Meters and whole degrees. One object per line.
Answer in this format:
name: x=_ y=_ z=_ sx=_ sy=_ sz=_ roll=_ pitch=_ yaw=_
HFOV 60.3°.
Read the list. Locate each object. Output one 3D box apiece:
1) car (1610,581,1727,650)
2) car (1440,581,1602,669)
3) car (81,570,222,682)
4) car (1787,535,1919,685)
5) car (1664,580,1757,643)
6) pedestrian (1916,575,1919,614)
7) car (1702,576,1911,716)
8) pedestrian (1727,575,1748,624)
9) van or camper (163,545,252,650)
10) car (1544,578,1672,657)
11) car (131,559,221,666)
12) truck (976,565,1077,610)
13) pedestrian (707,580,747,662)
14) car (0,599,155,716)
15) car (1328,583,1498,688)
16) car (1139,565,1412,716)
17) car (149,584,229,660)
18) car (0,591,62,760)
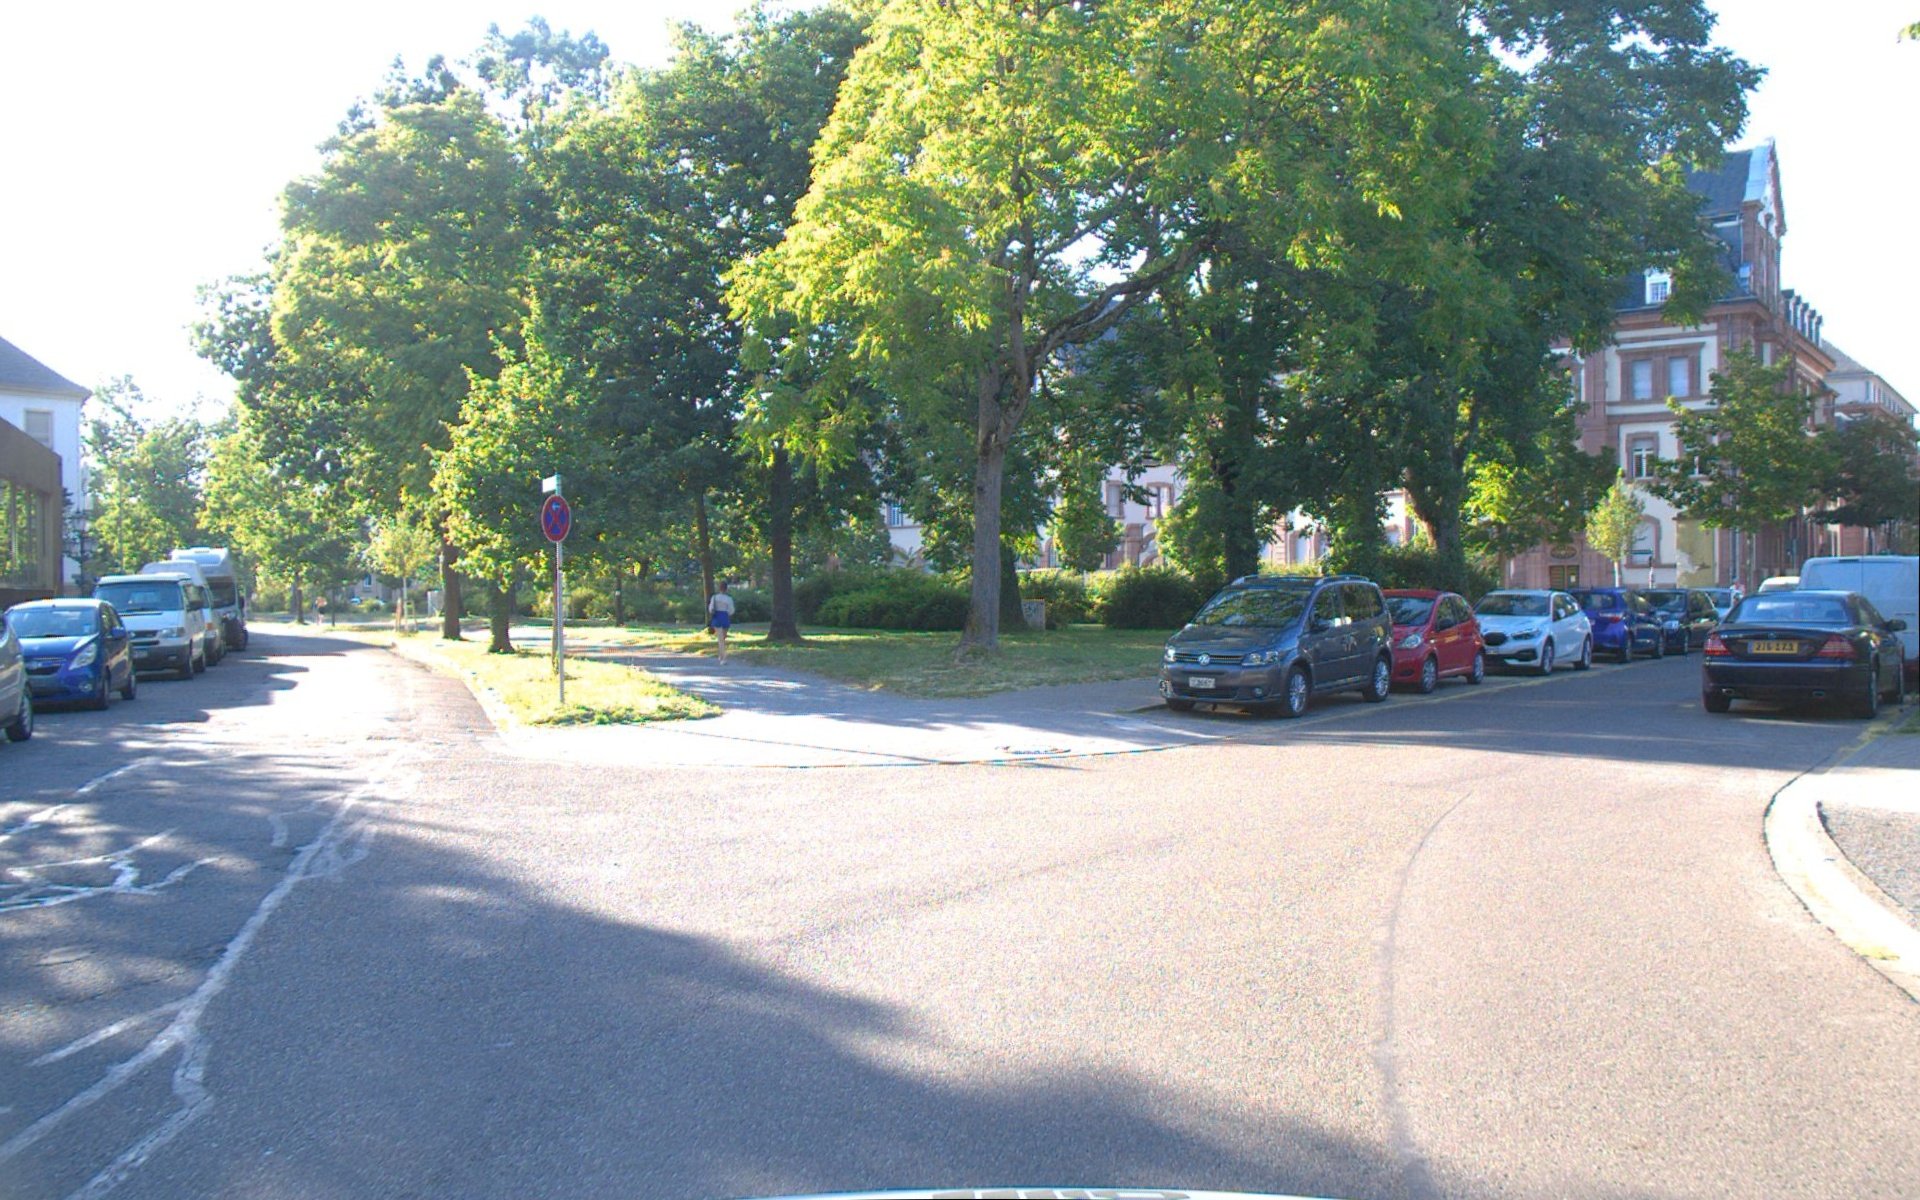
car: x=16.591 y=0.329 z=38.644 sx=1.527 sy=1.520 sz=3.924 roll=0 pitch=0 yaw=38
car: x=10.185 y=0.393 z=29.854 sx=1.662 sy=1.430 sz=3.959 roll=2 pitch=2 yaw=36
car: x=-15.496 y=0.450 z=31.920 sx=1.823 sy=1.980 sz=4.814 roll=-1 pitch=0 yaw=-19
car: x=13.920 y=0.112 z=25.003 sx=1.918 sy=2.049 sz=5.138 roll=0 pitch=0 yaw=34
car: x=19.477 y=0.266 z=42.841 sx=1.564 sy=1.553 sz=3.853 roll=0 pitch=0 yaw=34
pedestrian: x=47.647 y=-0.281 z=81.044 sx=1.038 sy=1.890 sz=1.003 roll=0 pitch=0 yaw=4
car: x=10.432 y=0.470 z=20.185 sx=1.734 sy=1.494 sz=4.850 roll=0 pitch=0 yaw=34
pedestrian: x=29.276 y=-0.020 z=62.297 sx=0.588 sy=1.815 sz=0.944 roll=0 pitch=0 yaw=32
van or camper: x=-22.647 y=-0.101 z=49.984 sx=2.060 sy=2.958 sz=6.291 roll=-1 pitch=0 yaw=-21
car: x=13.596 y=0.318 z=34.598 sx=1.611 sy=1.521 sz=3.691 roll=2 pitch=2 yaw=36
car: x=-18.700 y=0.265 z=39.609 sx=1.827 sy=2.397 sz=5.147 roll=-1 pitch=0 yaw=-24
truck: x=4.568 y=-0.873 z=116.000 sx=2.587 sy=3.082 sz=7.897 roll=0 pitch=0 yaw=-39
pedestrian: x=-4.676 y=0.413 z=33.180 sx=0.759 sy=1.602 sz=0.766 roll=-1 pitch=0 yaw=-9
car: x=-12.713 y=0.759 z=23.769 sx=1.591 sy=1.527 sz=3.677 roll=-1 pitch=0 yaw=-19
car: x=6.955 y=0.487 z=25.229 sx=1.364 sy=1.448 sz=3.413 roll=2 pitch=2 yaw=36
car: x=4.158 y=0.430 z=21.288 sx=1.772 sy=1.705 sz=4.304 roll=2 pitch=2 yaw=36
car: x=-20.470 y=0.537 z=44.030 sx=1.827 sy=1.918 sz=4.112 roll=-1 pitch=0 yaw=-24
car: x=-10.305 y=0.719 z=16.570 sx=1.679 sy=1.606 sz=3.677 roll=-1 pitch=0 yaw=-19
